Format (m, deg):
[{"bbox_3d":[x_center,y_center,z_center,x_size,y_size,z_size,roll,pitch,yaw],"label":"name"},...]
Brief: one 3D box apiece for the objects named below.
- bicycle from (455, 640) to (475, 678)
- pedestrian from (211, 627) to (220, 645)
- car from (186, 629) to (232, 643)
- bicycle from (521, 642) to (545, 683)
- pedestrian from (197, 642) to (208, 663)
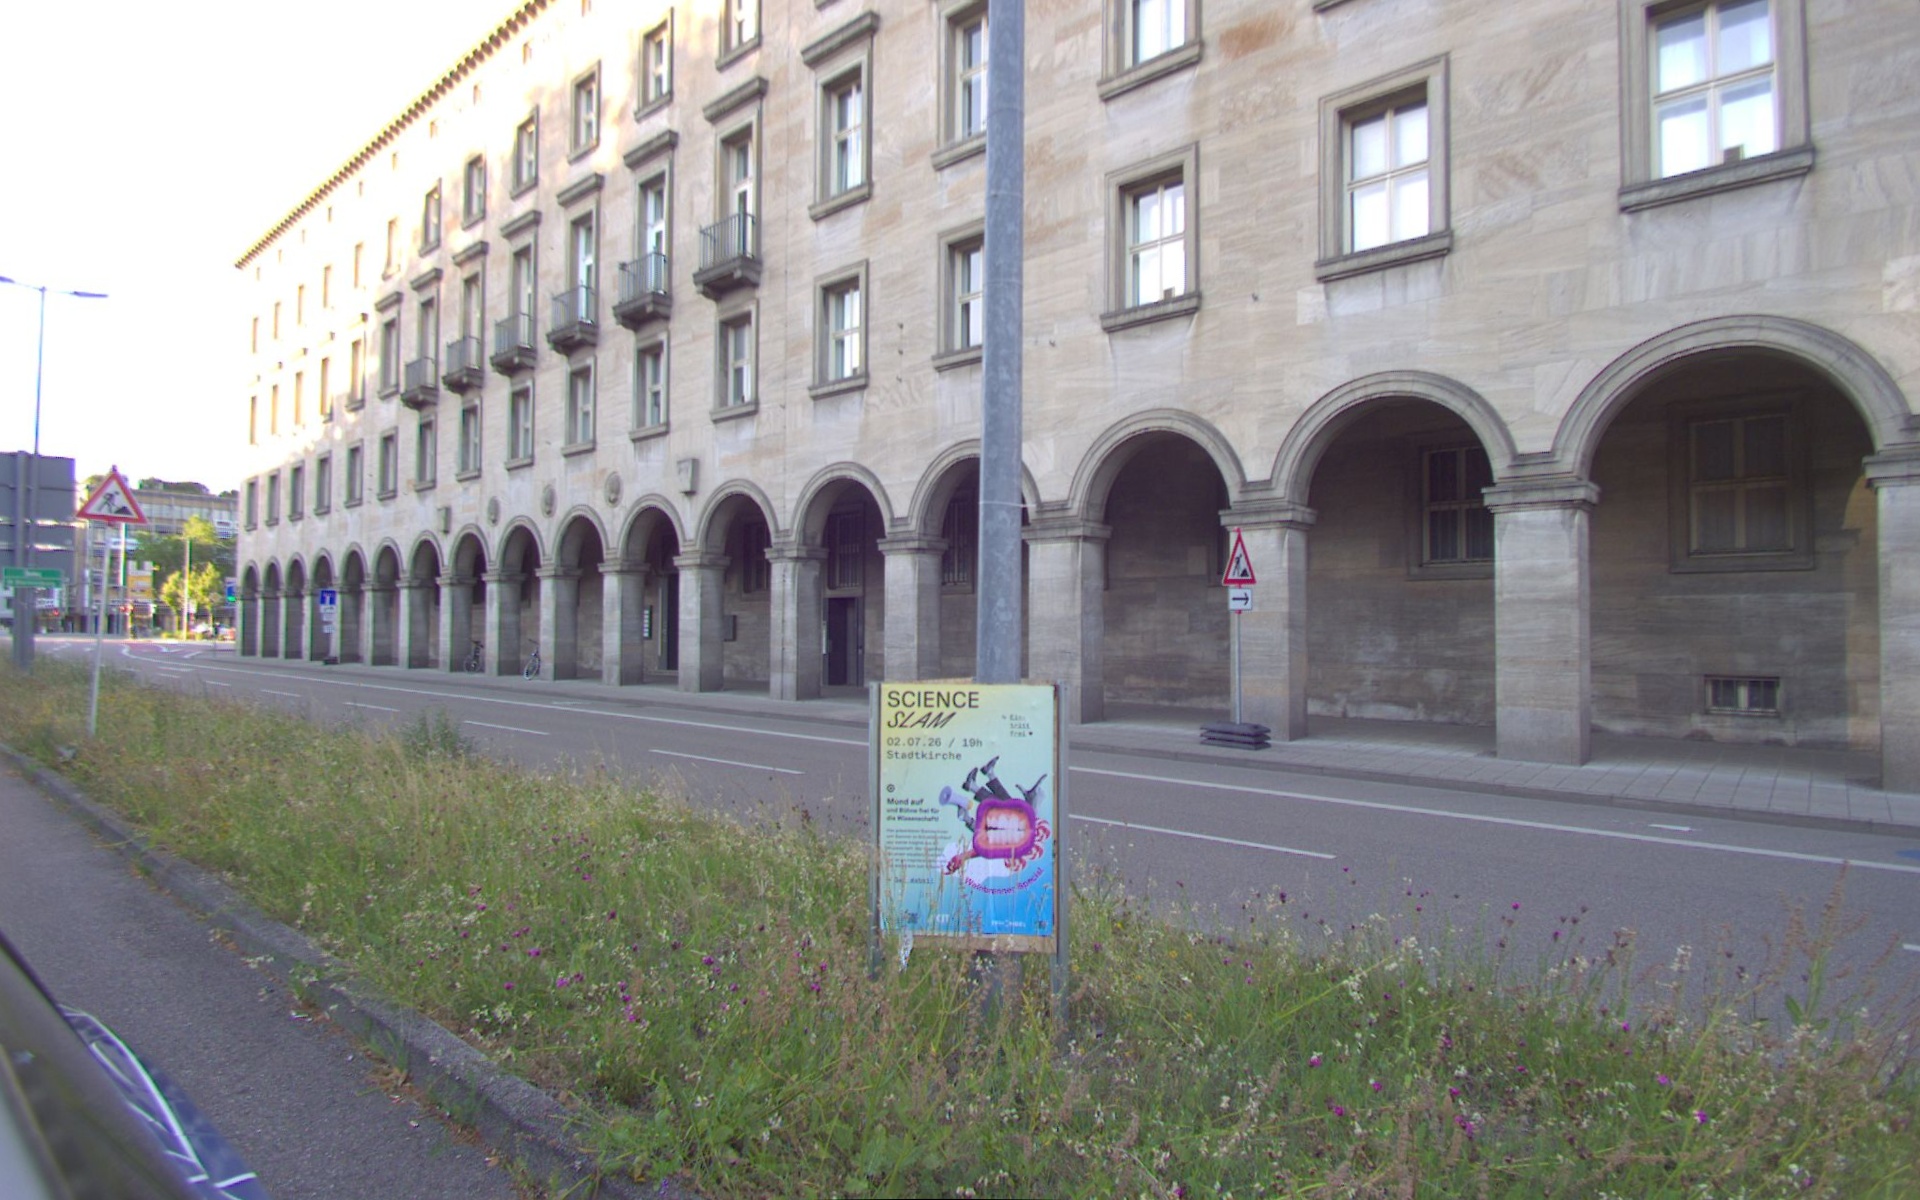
[{"bbox_3d":[-16.228,1.922,33.186,0.505,1.188,2.431,1,-2,-25],"label":"bicycle"},{"bbox_3d":[-64.542,3.132,87.736,0.389,1.553,0.519,-2,-3,41],"label":"pedestrian"},{"bbox_3d":[-89.536,4.318,120.646,1.994,1.621,3.985,-1,-3,32],"label":"car"},{"bbox_3d":[-12.722,1.843,30.184,0.505,1.130,2.431,1,-1,-20],"label":"bicycle"},{"bbox_3d":[-65.221,4.511,87.143,0.506,1.771,0.630,-2,-3,41],"label":"pedestrian"}]
